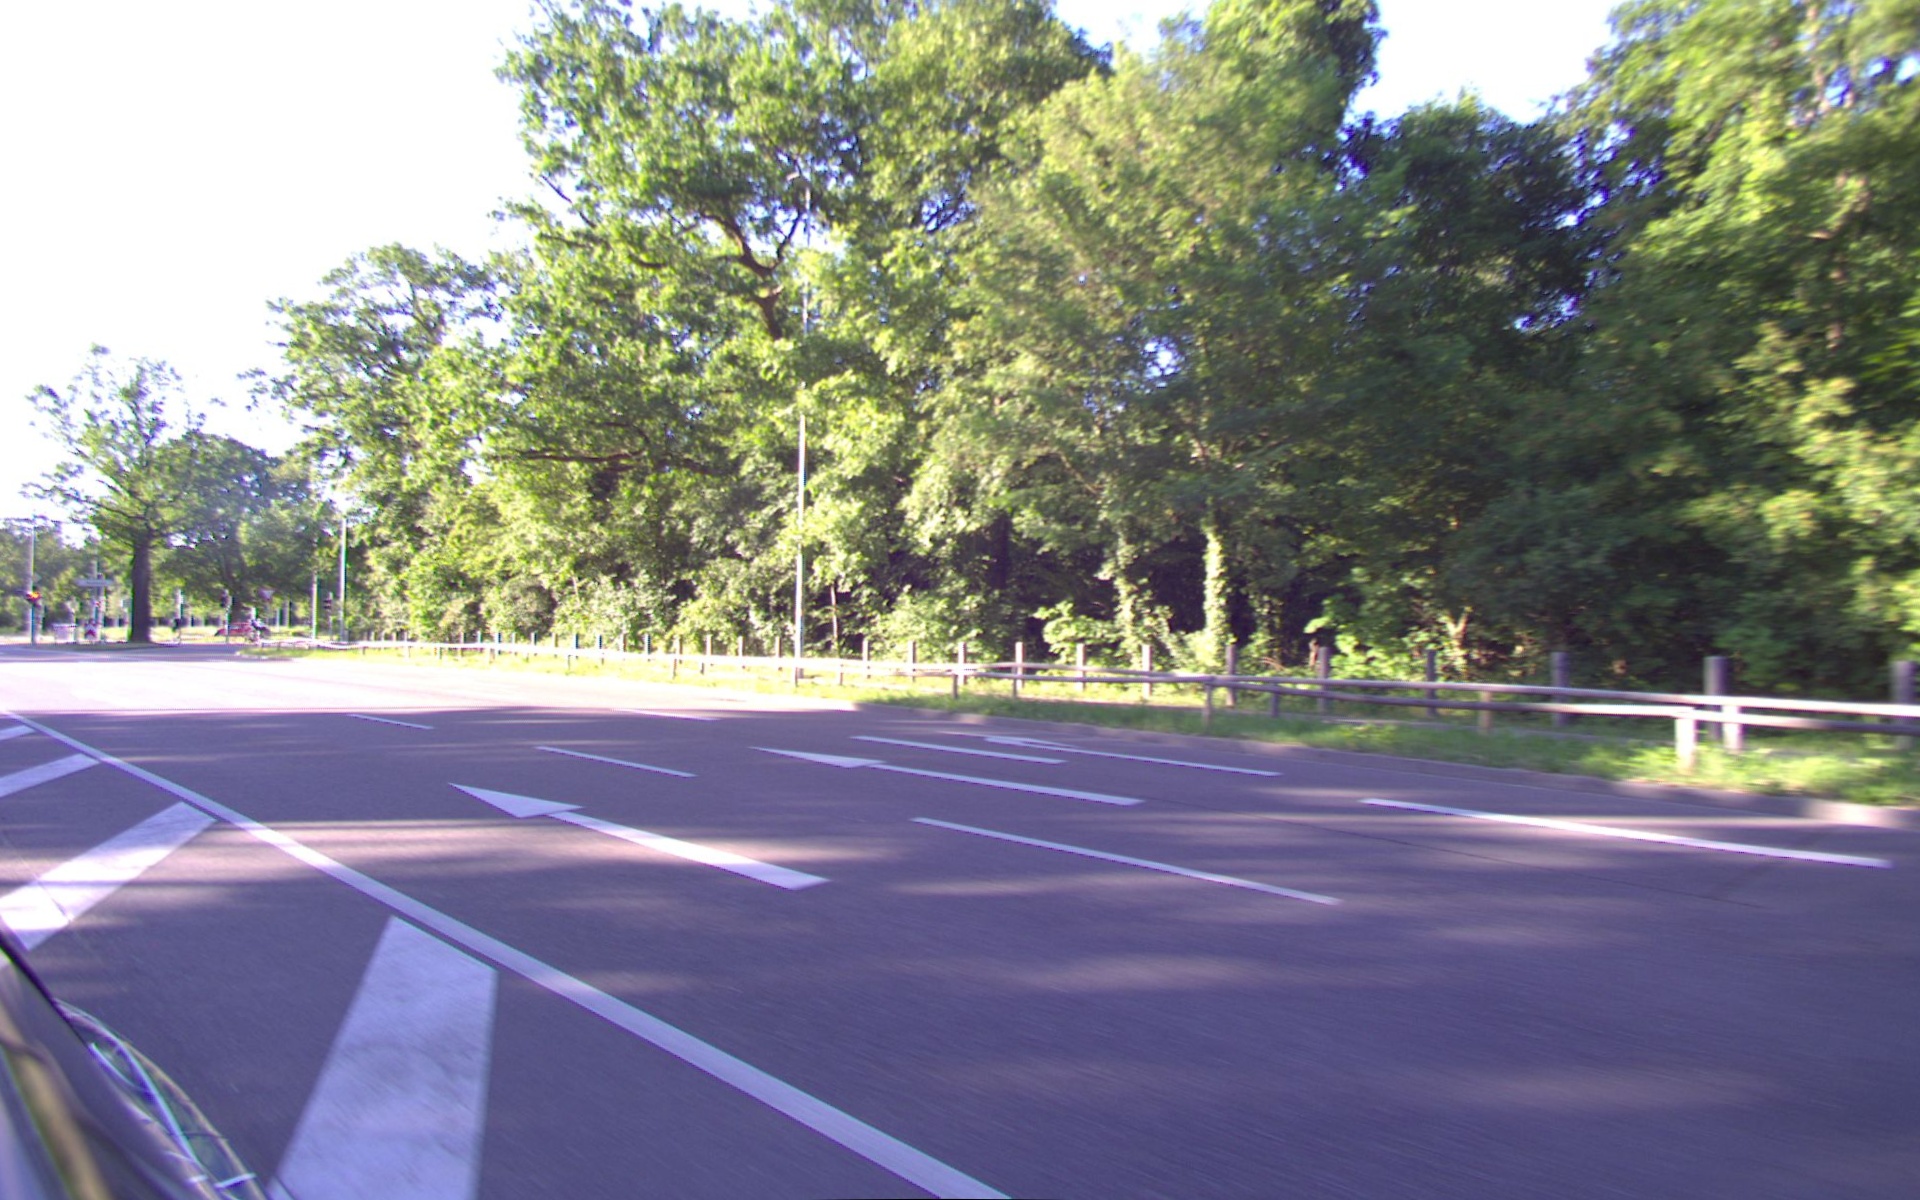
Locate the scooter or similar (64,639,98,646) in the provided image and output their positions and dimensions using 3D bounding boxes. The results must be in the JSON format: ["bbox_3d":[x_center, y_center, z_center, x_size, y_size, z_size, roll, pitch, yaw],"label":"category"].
[{"bbox_3d":[-50.085,2.433,57.666,1.260,0.342,1.391,-3,-2,44],"label":"scooter or similar"}]

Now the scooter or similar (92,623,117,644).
[{"bbox_3d":[-48.322,1.895,57.156,0.394,1.155,1.055,-3,-3,44],"label":"scooter or similar"}]

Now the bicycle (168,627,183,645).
[{"bbox_3d":[-50.783,2.337,65.482,0.671,1.163,1.987,-1,-2,-40],"label":"bicycle"}]

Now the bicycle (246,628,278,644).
[{"bbox_3d":[-46.413,2.382,67.325,1.565,0.984,0.786,-1,0,-7],"label":"bicycle"}]

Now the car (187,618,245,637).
[{"bbox_3d":[-64.748,2.376,88.121,3.932,1.521,1.661,-1,0,-32],"label":"car"}]

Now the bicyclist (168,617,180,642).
[{"bbox_3d":[-50.822,1.896,65.453,0.555,1.563,0.801,-1,-3,-42],"label":"bicyclist"}]

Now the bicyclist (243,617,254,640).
[{"bbox_3d":[-45.604,1.815,64.836,0.520,1.411,0.520,-1,0,-31],"label":"bicyclist"}]

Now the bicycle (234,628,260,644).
[{"bbox_3d":[-45.643,2.320,64.806,1.332,0.984,0.524,-1,0,-31],"label":"bicycle"}]

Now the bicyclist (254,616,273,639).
[{"bbox_3d":[-46.342,1.820,67.335,0.787,1.494,0.731,-1,0,-7],"label":"bicyclist"}]
